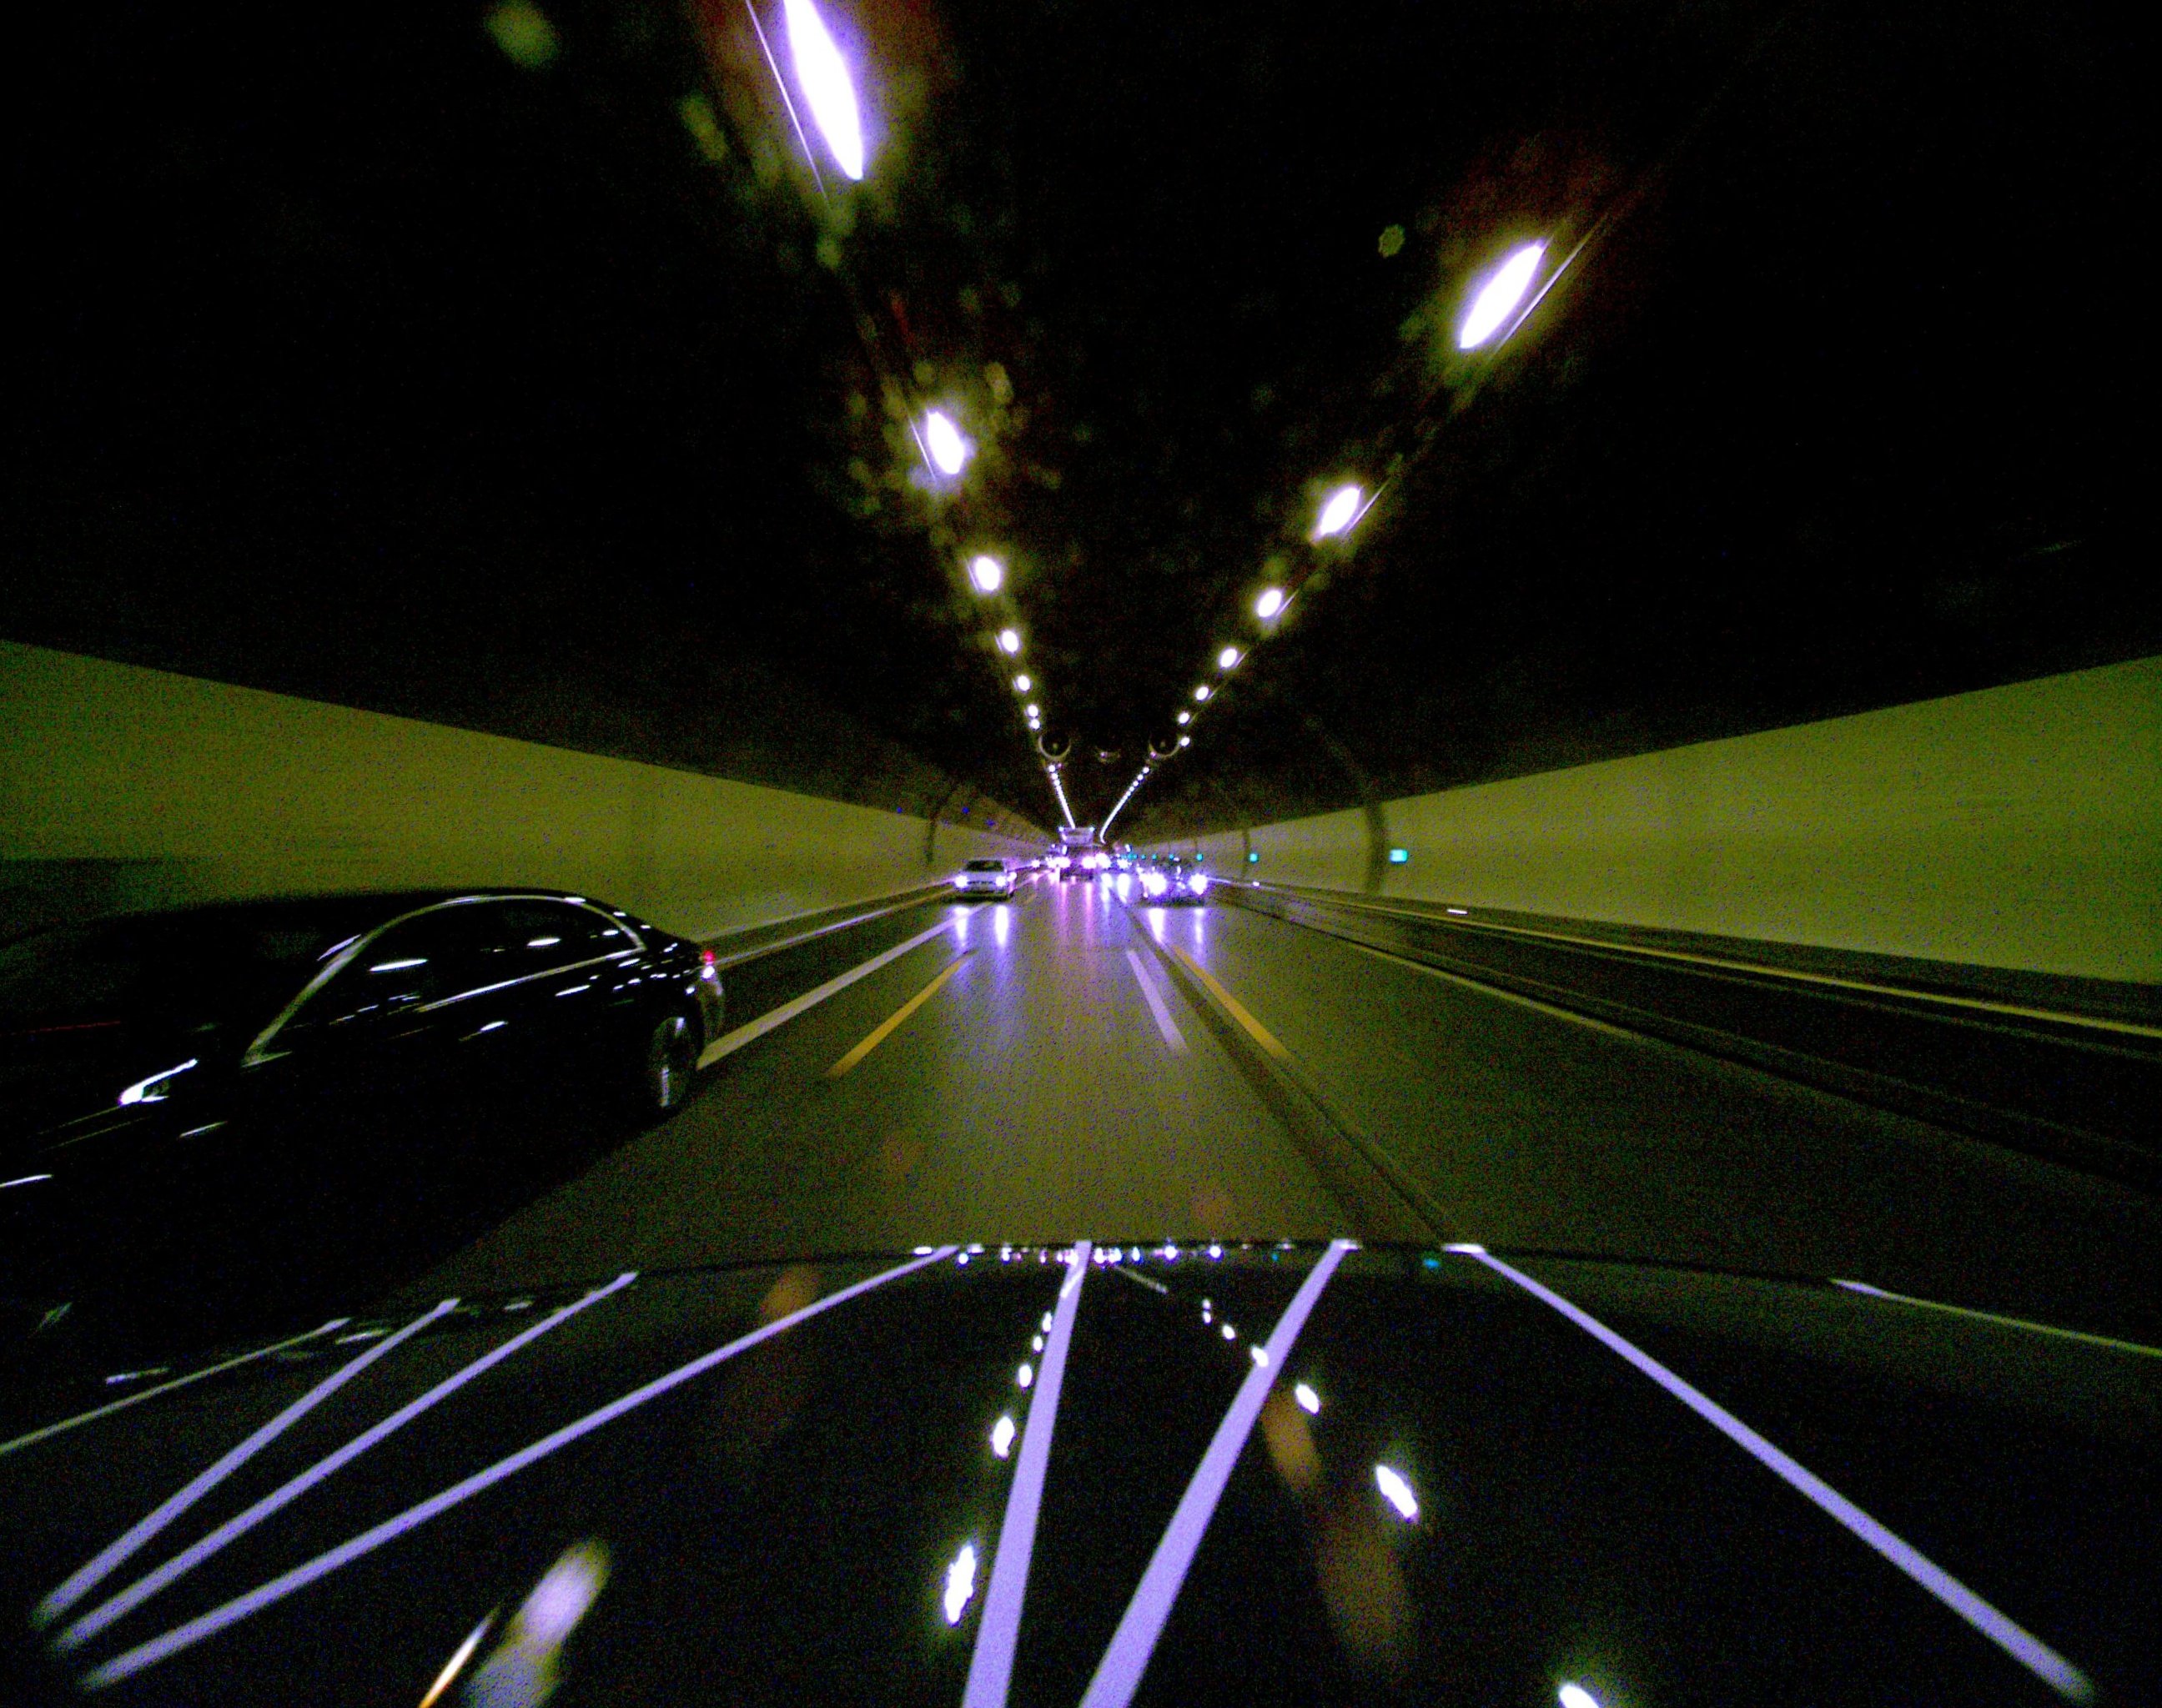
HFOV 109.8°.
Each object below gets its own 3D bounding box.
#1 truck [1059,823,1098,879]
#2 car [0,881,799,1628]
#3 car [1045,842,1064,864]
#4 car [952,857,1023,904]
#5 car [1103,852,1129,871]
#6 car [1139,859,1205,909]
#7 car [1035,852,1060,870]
[{"bbox_3d":[-0.141,-0.174,47.669,2.262,3.238,7.382,0,0,0],"label":"truck"},{"bbox_3d":[-3.331,0.970,3.788,1.930,1.464,4.954,0,0,1],"label":"car"},{"bbox_3d":[-3.291,-0.150,96.135,2.124,2.629,6.229,0,1,0],"label":"car"},{"bbox_3d":[-3.172,0.855,26.520,1.801,1.452,4.035,1,0,2],"label":"car"},{"bbox_3d":[3.037,0.627,66.953,1.958,1.528,4.757,-2,1,0],"label":"car"},{"bbox_3d":[2.755,0.862,23.663,1.657,1.395,3.656,0,0,0],"label":"car"},{"bbox_3d":[-2.955,0.564,67.619,1.958,1.528,4.757,0,1,0],"label":"car"}]
